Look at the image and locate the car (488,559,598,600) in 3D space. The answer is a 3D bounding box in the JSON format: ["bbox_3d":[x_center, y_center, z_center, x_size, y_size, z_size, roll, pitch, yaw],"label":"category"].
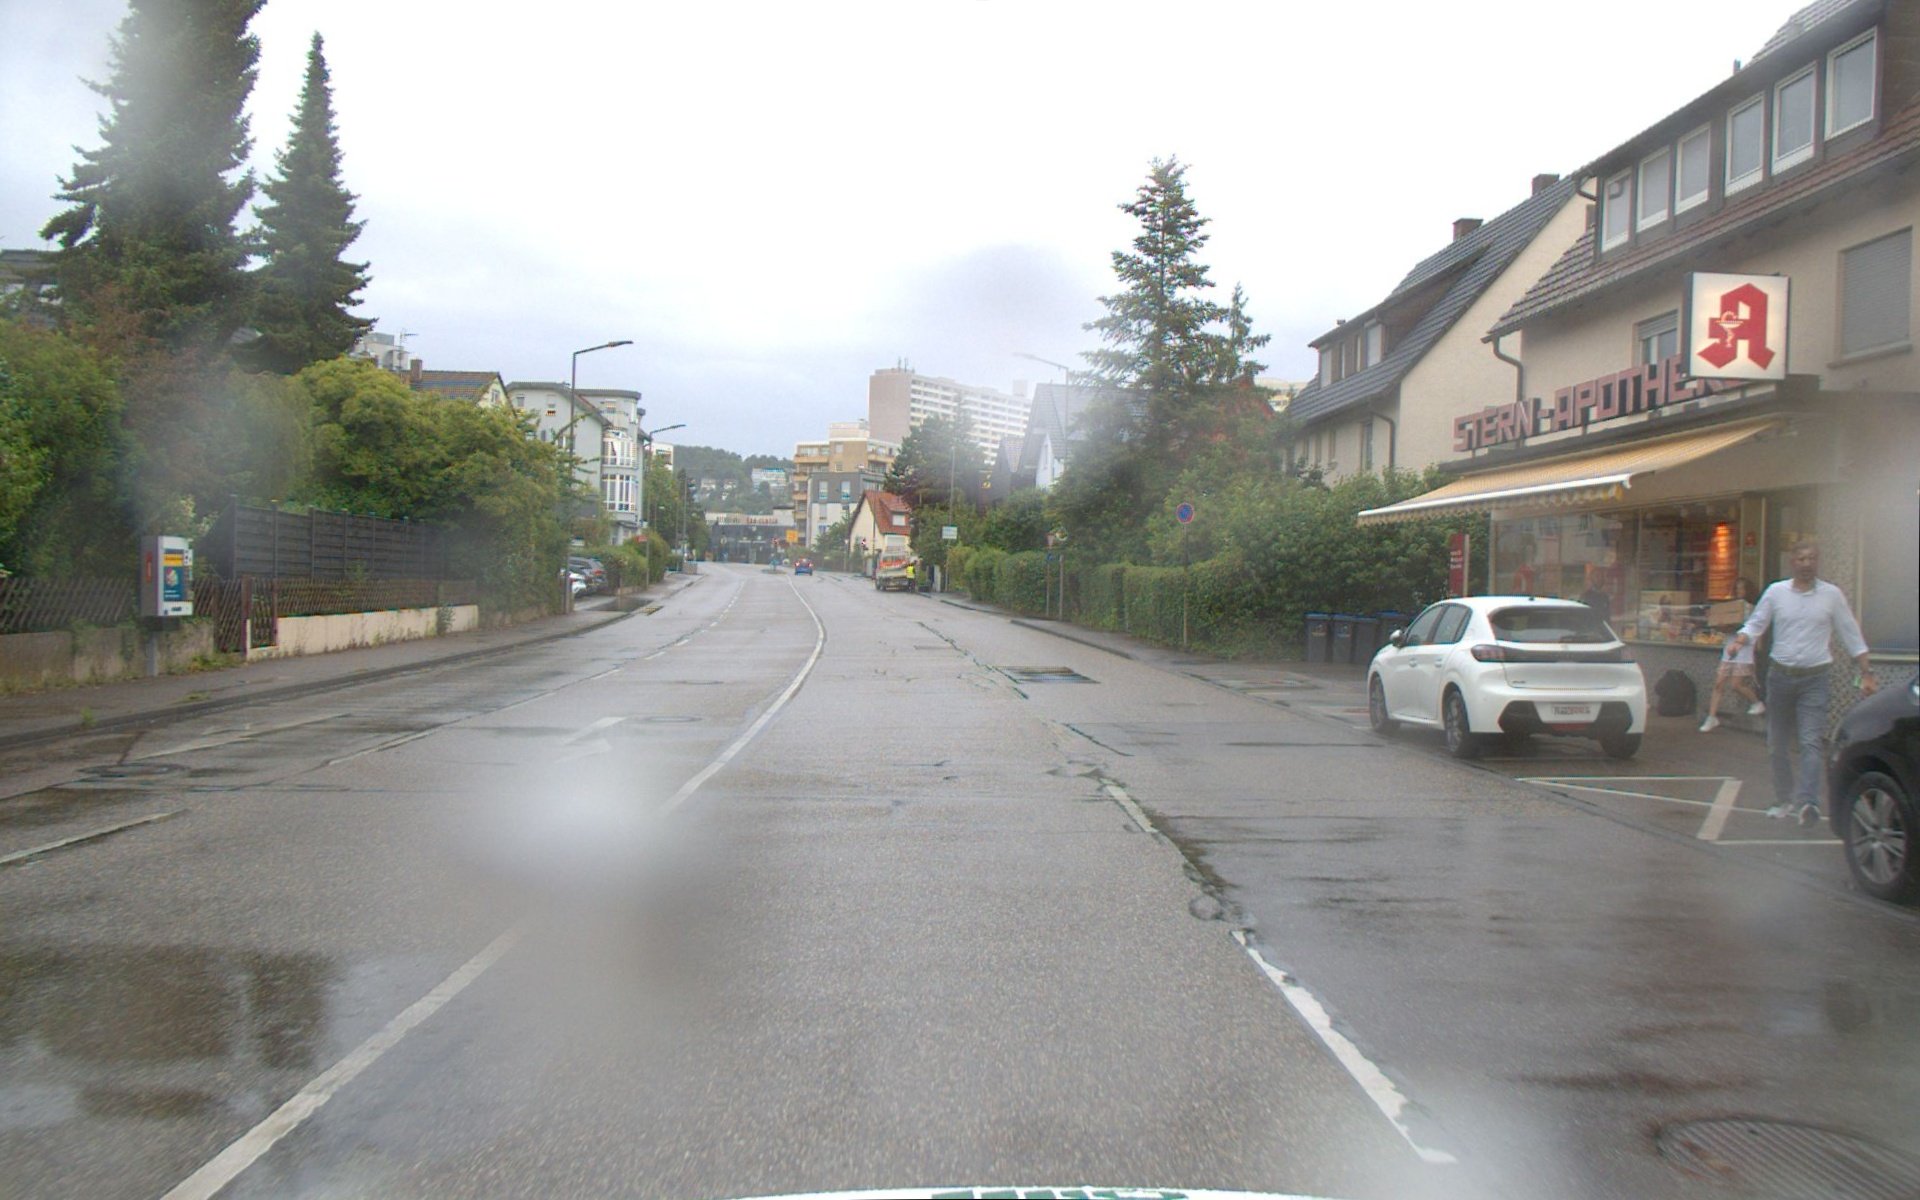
[{"bbox_3d":[-17.042,-0.833,67.734,3.906,1.459,1.971,3,1,0],"label":"car"}]

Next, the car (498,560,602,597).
[{"bbox_3d":[-17.343,-0.921,70.086,3.905,1.471,1.706,1,0,1],"label":"car"}]

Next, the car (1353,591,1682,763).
[{"bbox_3d":[5.329,0.655,16.411,1.778,1.473,4.202,0,0,-1],"label":"car"}]

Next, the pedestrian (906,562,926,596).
[{"bbox_3d":[-2.466,-1.178,92.585,0.812,1.828,0.794,1,1,-24],"label":"pedestrian"}]

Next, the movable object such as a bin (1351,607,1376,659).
[{"bbox_3d":[7.887,0.640,32.312,0.359,1.004,0.355,1,0,-4],"label":"movable object such as a bin"}]

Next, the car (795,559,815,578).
[{"bbox_3d":[-14.222,-2.859,151.700,1.759,1.699,3.996,1,0,-5],"label":"car"}]

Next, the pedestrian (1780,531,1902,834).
[{"bbox_3d":[5.842,0.522,10.963,0.611,1.924,0.645,2,0,34],"label":"pedestrian"}]

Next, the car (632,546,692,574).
[{"bbox_3d":[-24.927,-3.354,138.536,4.426,2.048,2.002,3,1,8],"label":"car"}]

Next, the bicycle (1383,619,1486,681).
[{"bbox_3d":[7.976,0.841,27.820,1.611,0.950,0.623,-3,-1,17],"label":"bicycle"}]

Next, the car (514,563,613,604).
[{"bbox_3d":[-17.676,-0.738,73.797,3.902,1.715,1.810,1,0,12],"label":"car"}]

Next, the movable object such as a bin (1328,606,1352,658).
[{"bbox_3d":[7.406,0.617,32.241,0.359,1.004,0.355,1,0,-4],"label":"movable object such as a bin"}]

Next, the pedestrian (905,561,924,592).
[{"bbox_3d":[-2.575,-1.341,93.471,0.812,1.756,0.835,1,1,-24],"label":"pedestrian"}]

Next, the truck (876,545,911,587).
[{"bbox_3d":[-3.924,-2.003,96.912,1.954,2.343,3.998,1,1,-3],"label":"truck"}]

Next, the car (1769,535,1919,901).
[{"bbox_3d":[5.503,0.540,6.744,1.994,1.725,4.963,-1,0,0],"label":"car"}]

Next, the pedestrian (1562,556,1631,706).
[{"bbox_3d":[7.422,0.355,19.279,0.546,1.708,0.510,1,0,-39],"label":"pedestrian"}]

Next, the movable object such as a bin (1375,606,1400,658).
[{"bbox_3d":[8.376,0.618,32.404,0.359,1.004,0.355,1,0,-4],"label":"movable object such as a bin"}]
